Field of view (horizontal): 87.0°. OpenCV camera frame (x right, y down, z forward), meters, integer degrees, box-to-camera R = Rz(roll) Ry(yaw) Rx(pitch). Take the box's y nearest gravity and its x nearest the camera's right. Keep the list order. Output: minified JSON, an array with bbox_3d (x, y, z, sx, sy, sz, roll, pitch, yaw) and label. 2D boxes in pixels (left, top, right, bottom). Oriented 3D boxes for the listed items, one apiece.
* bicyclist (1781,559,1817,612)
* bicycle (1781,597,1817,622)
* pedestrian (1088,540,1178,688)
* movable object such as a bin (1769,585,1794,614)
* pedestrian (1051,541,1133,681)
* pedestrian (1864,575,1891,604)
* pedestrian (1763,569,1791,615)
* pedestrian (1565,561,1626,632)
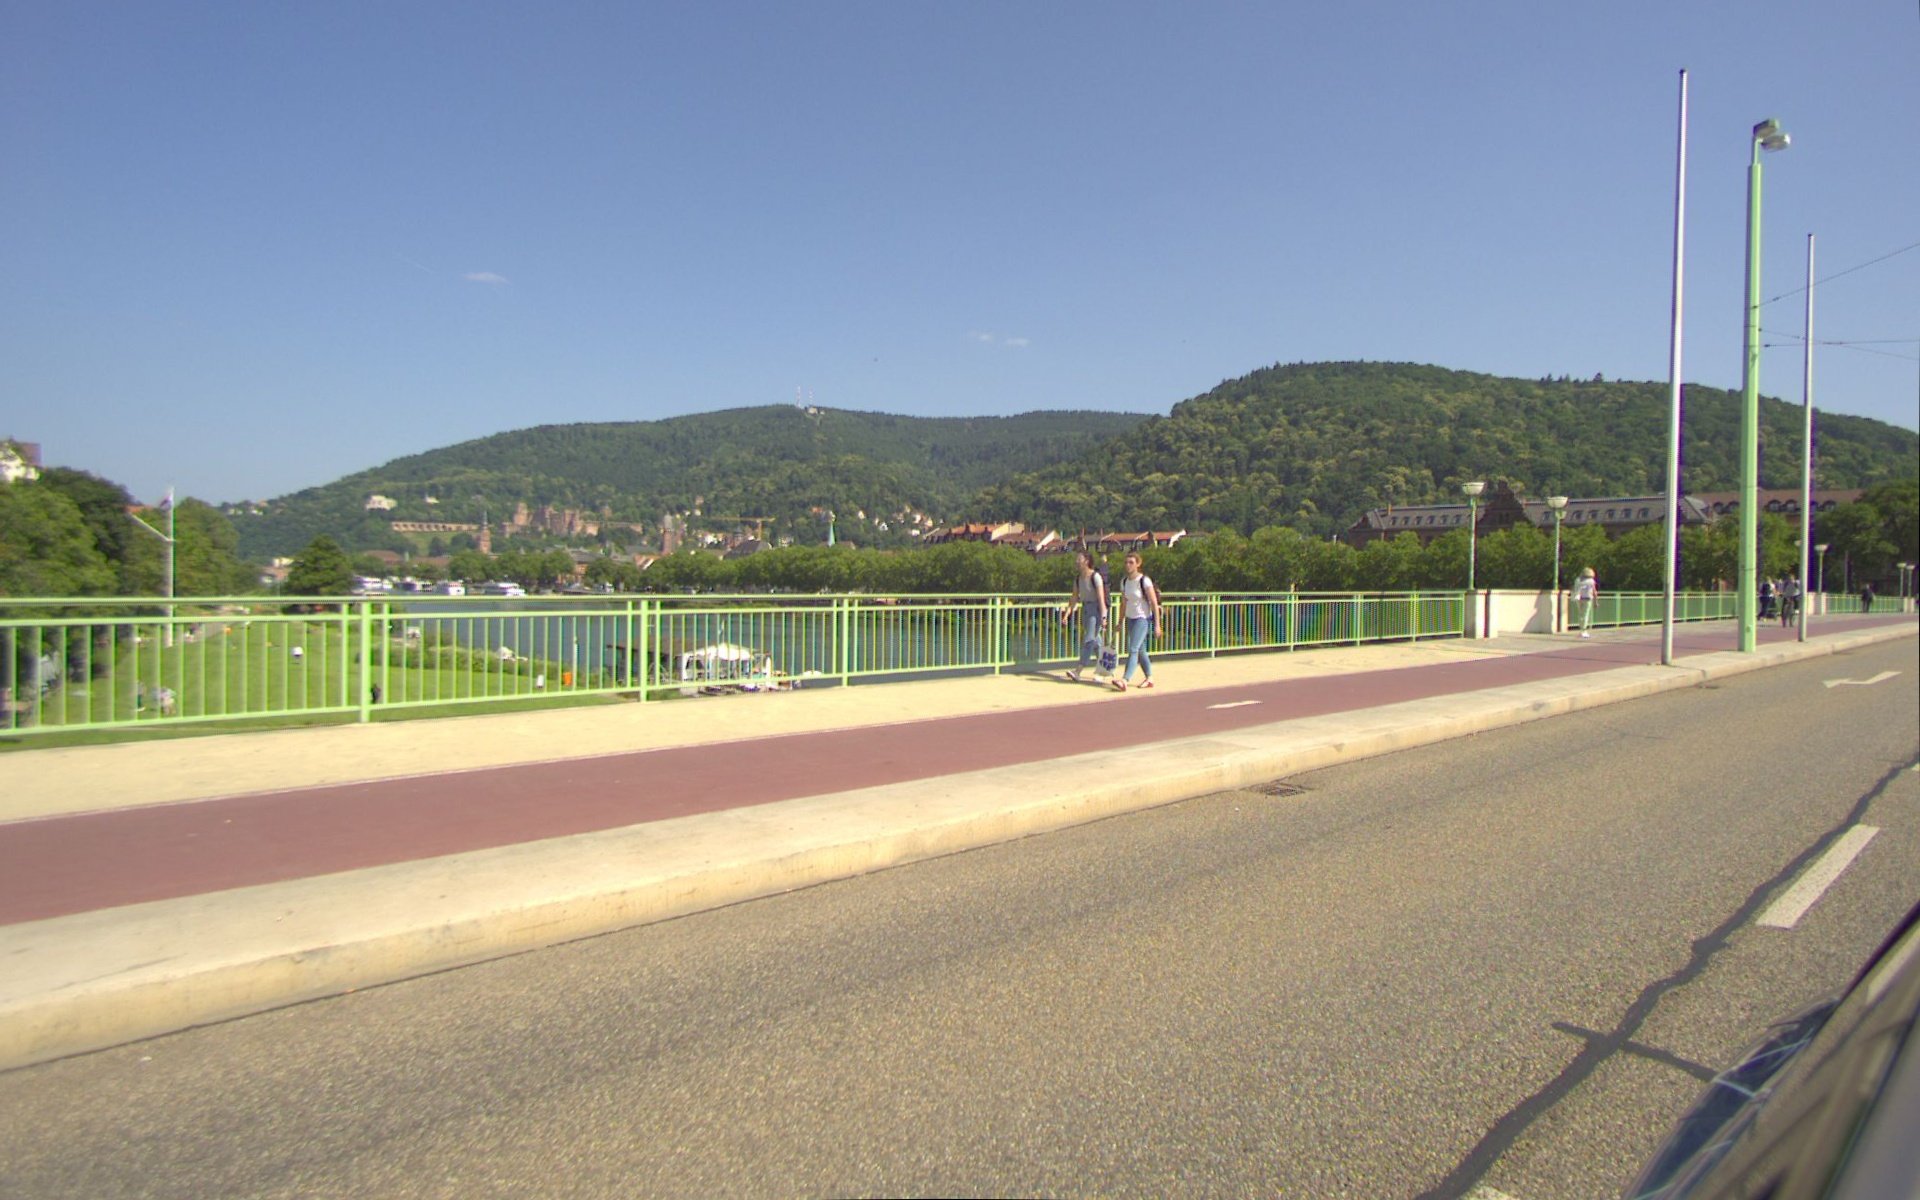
[{"bbox_3d":[27.584,-0.483,33.269,0.829,1.685,0.731,0,2,-40],"label":"bicyclist"},{"bbox_3d":[27.660,0.297,33.350,1.834,0.775,0.595,-1,3,-41],"label":"bicycle"},{"bbox_3d":[2.041,0.141,11.947,0.811,1.679,0.664,-1,2,-41],"label":"pedestrian"},{"bbox_3d":[31.791,-0.018,39.157,0.917,1.104,0.583,0,2,-42],"label":"movable object such as a bin"},{"bbox_3d":[1.648,0.116,12.655,0.733,1.679,0.668,0,3,-41],"label":"pedestrian"},{"bbox_3d":[53.412,-0.616,58.913,1.063,1.683,0.949,0,3,-41],"label":"pedestrian"},{"bbox_3d":[31.166,-0.321,38.612,0.844,1.727,0.664,-1,2,-41],"label":"pedestrian"},{"bbox_3d":[15.598,-0.101,24.839,1.063,1.683,0.949,0,3,-41],"label":"pedestrian"}]
